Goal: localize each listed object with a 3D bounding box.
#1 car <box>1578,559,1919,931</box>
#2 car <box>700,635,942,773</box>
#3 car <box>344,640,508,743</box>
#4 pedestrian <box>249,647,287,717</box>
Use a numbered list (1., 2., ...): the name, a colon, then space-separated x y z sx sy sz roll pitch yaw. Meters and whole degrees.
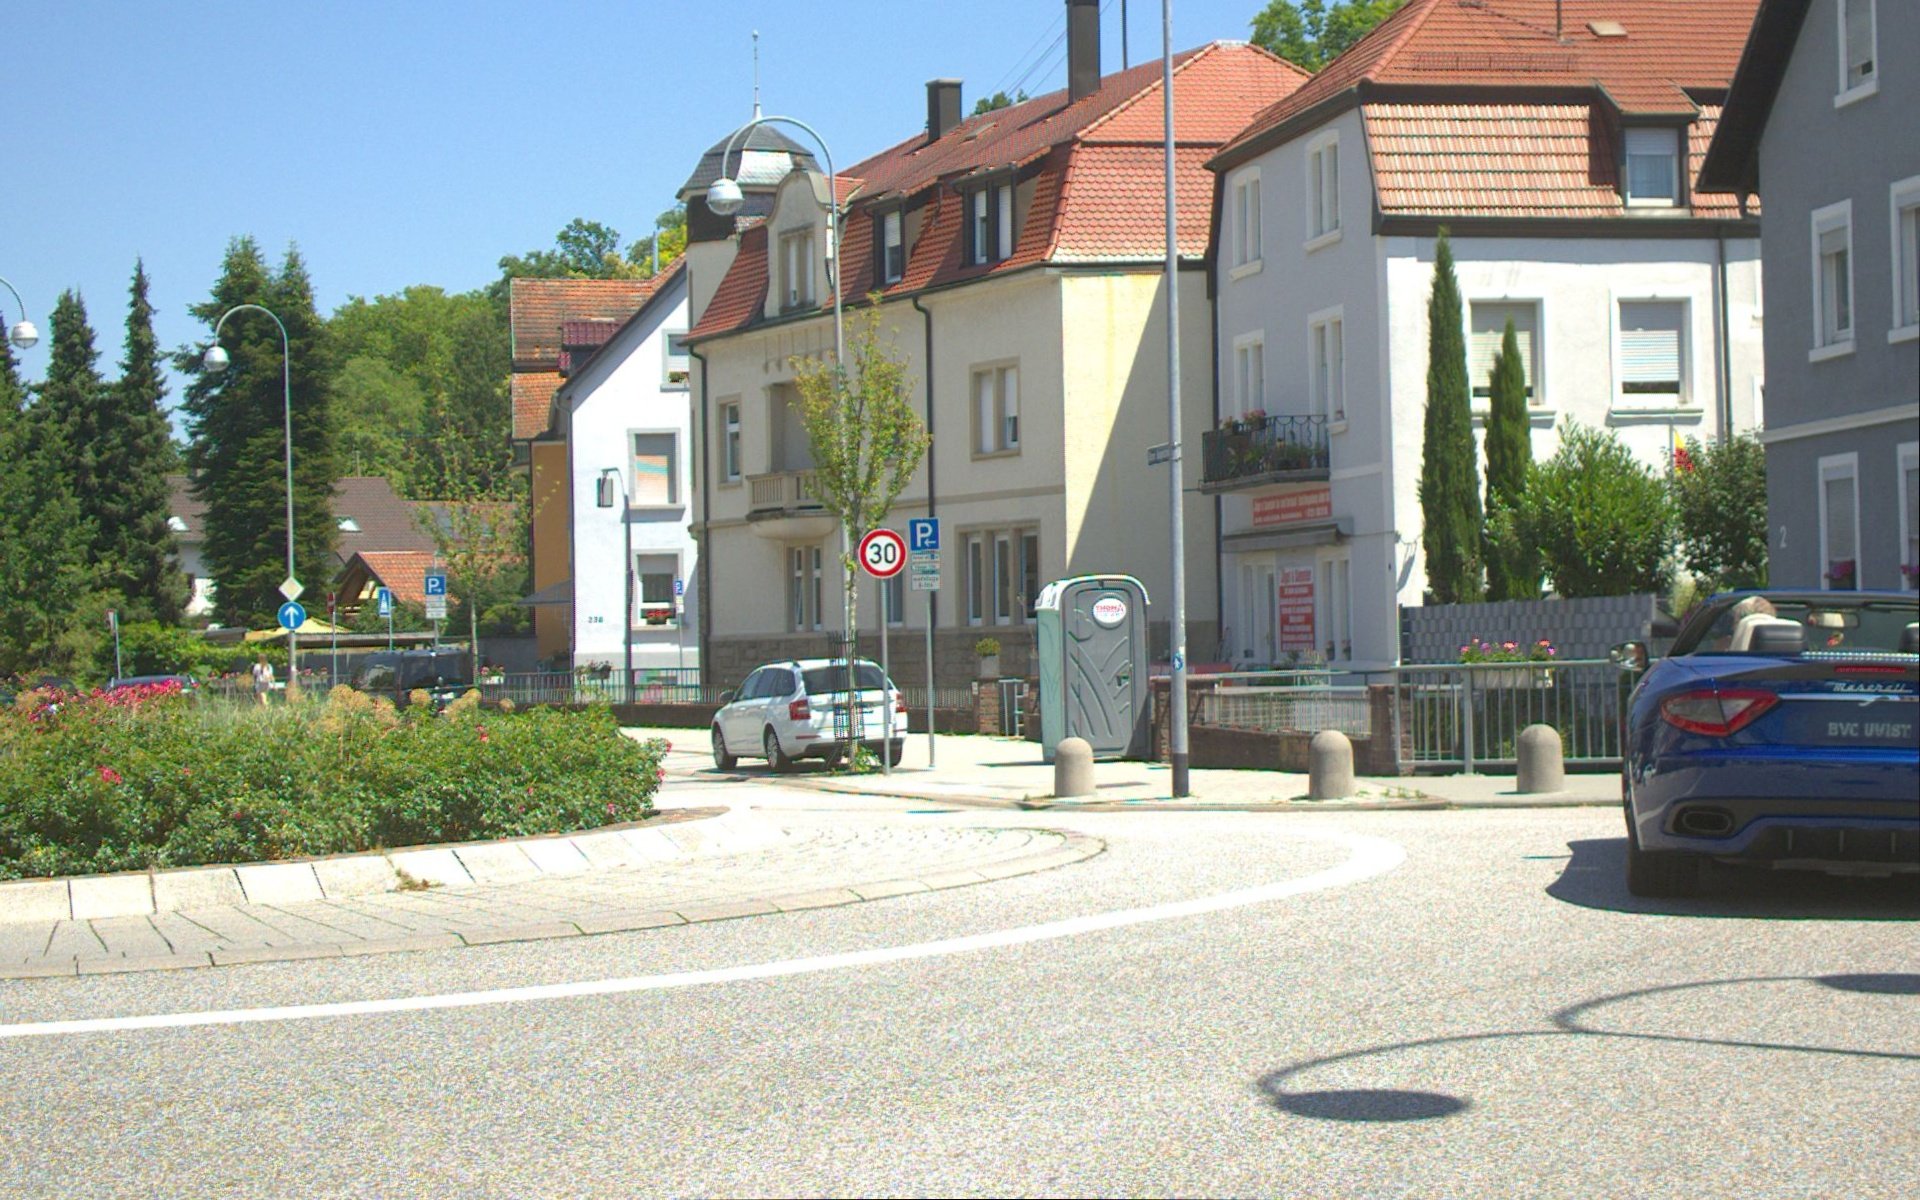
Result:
1. car: 4.074 0.540 15.713 1.977 1.393 4.623 0 1 16
2. car: -1.932 1.387 46.289 1.993 1.579 4.288 -6 0 -19
3. car: -10.586 1.780 67.948 1.993 1.859 4.288 1 1 -26
4. pedestrian: -18.063 2.133 89.720 0.842 1.808 0.549 1 0 -25
